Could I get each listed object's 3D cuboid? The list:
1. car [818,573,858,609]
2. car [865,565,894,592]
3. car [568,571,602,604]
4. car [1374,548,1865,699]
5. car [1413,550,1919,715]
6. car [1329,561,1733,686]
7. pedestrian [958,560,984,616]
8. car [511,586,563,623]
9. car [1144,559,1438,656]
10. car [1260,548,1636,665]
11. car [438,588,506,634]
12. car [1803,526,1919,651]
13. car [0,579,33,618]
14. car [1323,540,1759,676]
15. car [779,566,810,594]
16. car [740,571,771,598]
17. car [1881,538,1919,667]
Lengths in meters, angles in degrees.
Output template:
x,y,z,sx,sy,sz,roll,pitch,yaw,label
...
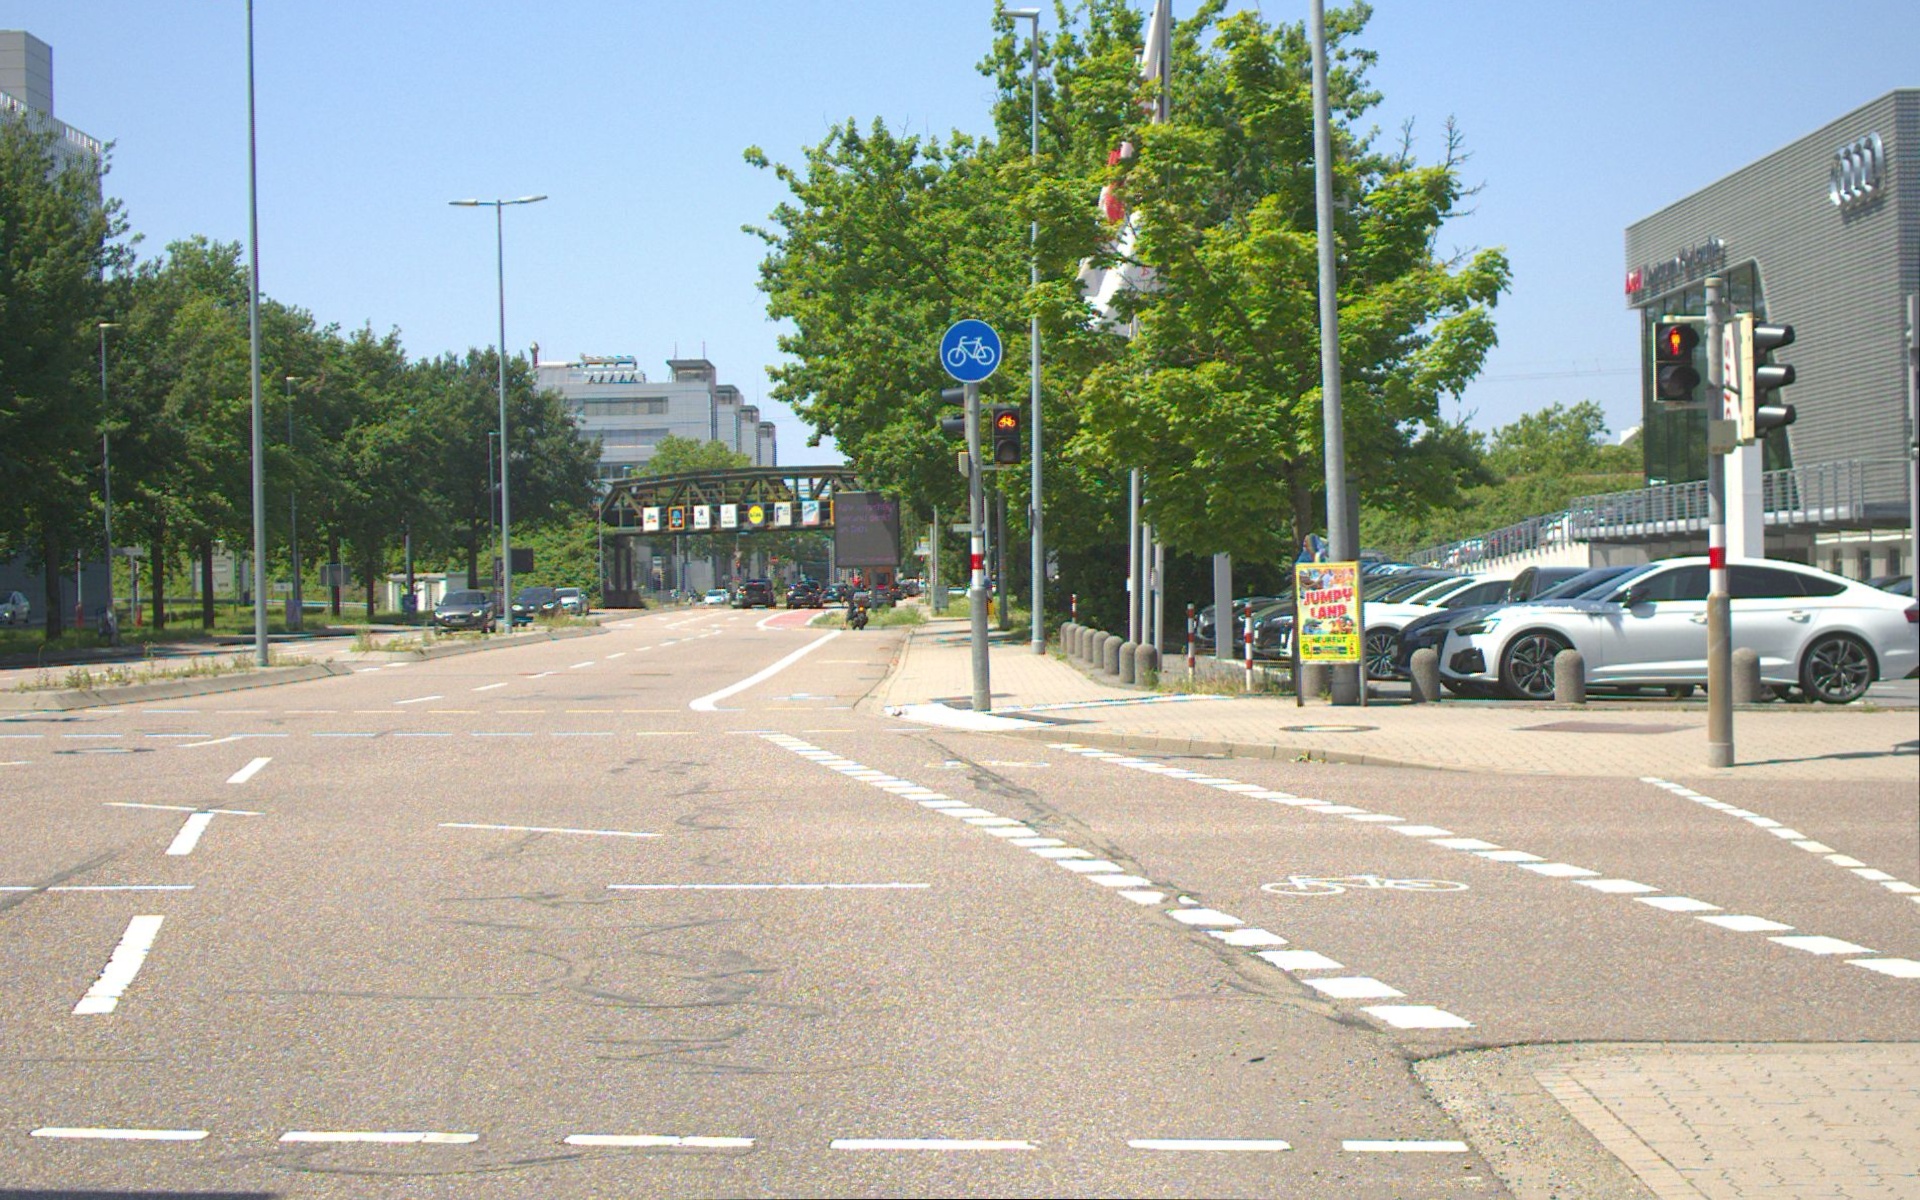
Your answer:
x,y,z,sx,sy,sz,roll,pitch,yaw,label
-3.738,-0.285,105.429,1.137,1.038,2.308,-1,1,-1,car
-5.150,-1.367,220.728,1.772,1.722,4.000,-1,0,-1,car
-19.335,-0.632,177.353,1.648,1.647,4.164,-1,1,-5,car
6.800,0.246,35.842,4.741,1.452,2.000,-1,0,2,car
6.873,0.292,33.258,4.741,1.452,2.000,-1,1,2,car
7.208,0.284,43.728,4.741,1.452,2.000,-1,1,-2,car
0.296,-0.331,93.276,0.668,1.505,0.736,-1,1,-1,pedestrian
-17.087,0.173,139.024,1.684,1.406,3.665,-1,0,-1,car
5.618,0.112,58.807,4.741,1.452,2.000,-2,1,-2,car
6.555,0.069,46.558,4.741,1.452,2.000,-1,1,-2,car
-16.372,0.358,115.493,1.732,1.422,3.706,-3,0,-1,car
16.137,-0.224,56.631,3.987,2.007,2.000,-1,1,1,car
-47.476,-0.076,169.940,1.994,1.804,4.029,1,1,3,car
6.683,0.073,39.925,4.741,1.452,2.000,-1,1,2,car
-10.582,-1.261,220.235,1.772,1.722,4.000,-1,0,-1,car
-13.411,-0.999,225.332,1.772,1.722,4.000,-1,0,-1,car
16.841,-0.018,54.381,3.987,2.007,2.000,-1,1,1,car
